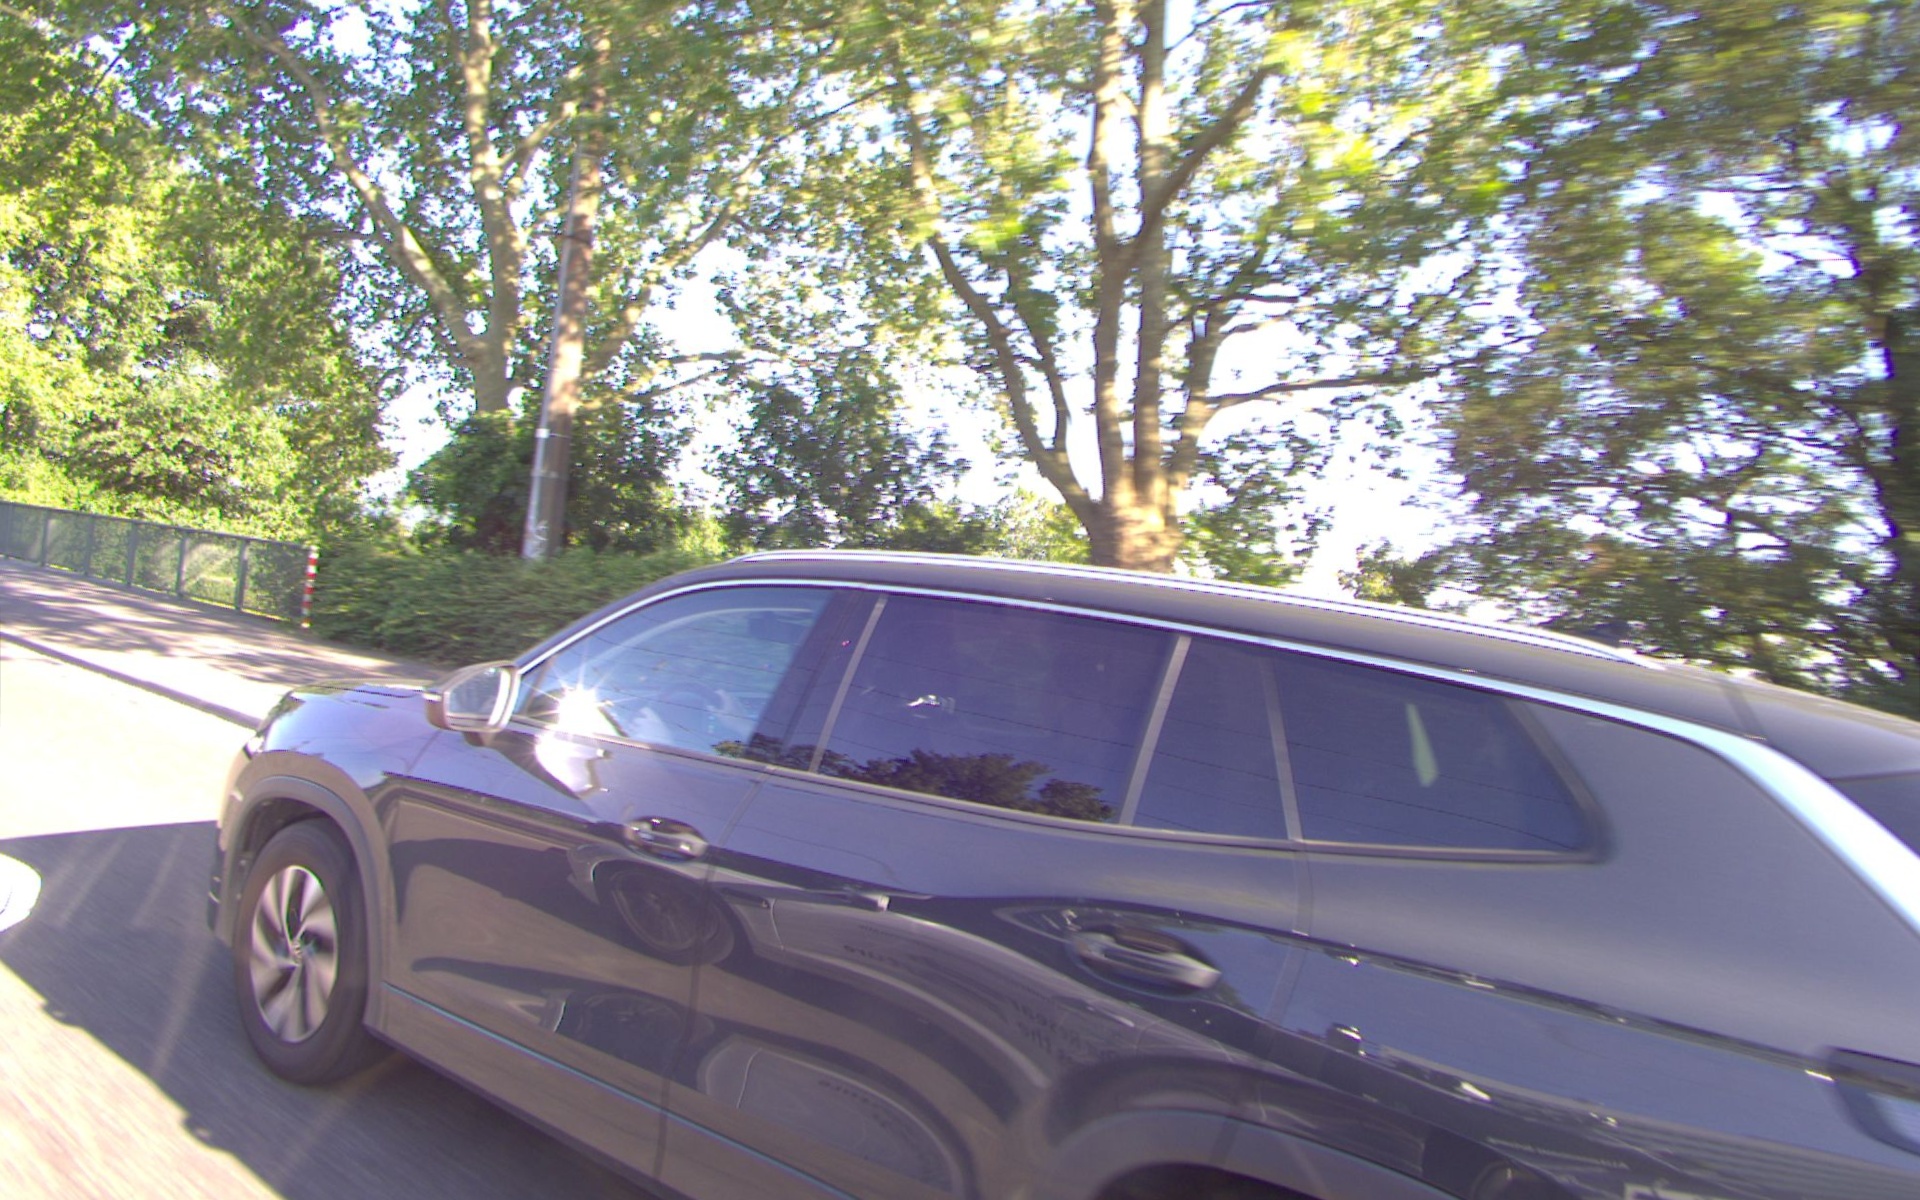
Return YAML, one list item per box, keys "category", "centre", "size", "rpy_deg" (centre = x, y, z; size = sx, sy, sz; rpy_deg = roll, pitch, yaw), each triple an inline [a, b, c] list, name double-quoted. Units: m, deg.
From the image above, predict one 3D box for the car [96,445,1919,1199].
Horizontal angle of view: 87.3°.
- category: "car"
  centre: [-0.370, 0.632, 2.936]
  size: [4.365, 1.681, 1.848]
  rpy_deg: [7, -1, 31]
